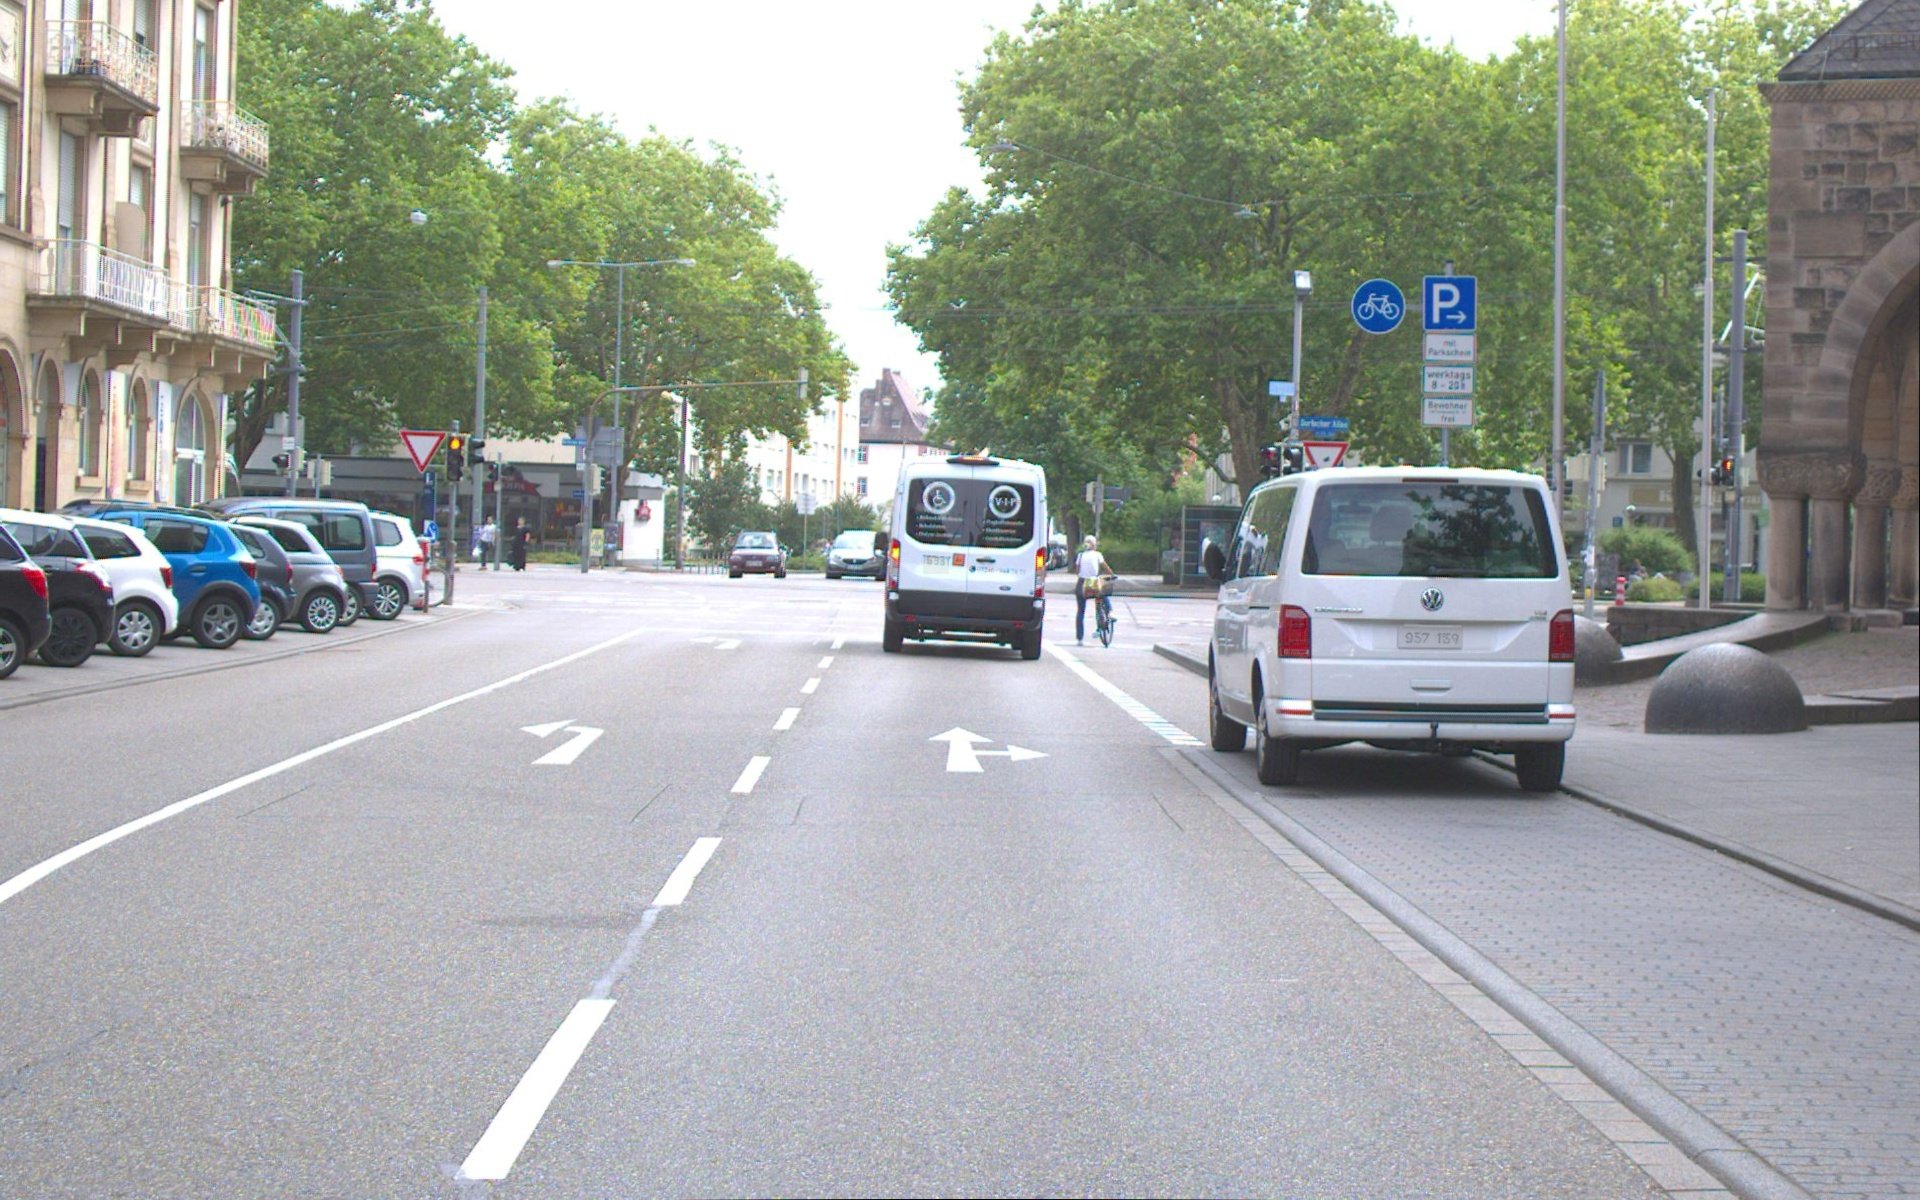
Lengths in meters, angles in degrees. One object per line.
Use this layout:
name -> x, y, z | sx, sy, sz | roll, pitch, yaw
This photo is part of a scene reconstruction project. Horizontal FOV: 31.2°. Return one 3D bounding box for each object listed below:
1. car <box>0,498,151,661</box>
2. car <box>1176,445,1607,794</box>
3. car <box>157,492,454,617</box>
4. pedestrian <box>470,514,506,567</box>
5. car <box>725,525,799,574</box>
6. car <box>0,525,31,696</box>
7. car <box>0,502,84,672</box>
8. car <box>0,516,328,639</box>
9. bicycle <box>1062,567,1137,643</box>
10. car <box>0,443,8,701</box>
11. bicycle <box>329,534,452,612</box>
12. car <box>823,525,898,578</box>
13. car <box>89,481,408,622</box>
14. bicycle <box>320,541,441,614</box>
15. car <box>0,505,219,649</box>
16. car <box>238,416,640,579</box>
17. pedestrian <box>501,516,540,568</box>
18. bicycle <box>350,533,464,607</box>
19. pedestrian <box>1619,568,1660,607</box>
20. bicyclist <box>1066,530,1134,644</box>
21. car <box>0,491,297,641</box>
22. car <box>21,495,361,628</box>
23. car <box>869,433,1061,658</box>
car -> -10.164, -0.241, 33.605 | 3.999, 1.559, 1.797 | 1, 1, -32
car -> 2.677, 0.040, 22.611 | 2.014, 2.022, 5.124 | 0, 2, -2
car -> -9.891, -0.679, 52.060 | 4.000, 1.767, 1.796 | 1, 1, -39
pedestrian -> -14.049, -1.771, 102.311 | 0.807, 1.567, 0.723 | 2, 1, 14
car -> -6.253, -1.608, 109.022 | 1.621, 1.471, 3.999 | 2, 1, 7
car -> -9.761, 0.038, 27.677 | 4.001, 1.404, 1.796 | 1, 1, -41
car -> -9.959, -0.162, 30.300 | 3.984, 1.498, 1.631 | 1, 1, -35
car -> -10.110, -0.279, 42.981 | 3.891, 1.438, 1.837 | 1, 1, -36
bicycle -> 2.087, 0.067, 51.638 | 0.902, 1.071, 1.970 | 2, 1, -3
car -> -9.796, -0.277, 24.693 | 5.254, 1.903, 2.121 | 1, 1, -35
bicycle -> -9.319, -0.447, 56.288 | 1.809, 1.116, 0.594 | 5, 1, 4
car -> -3.101, -1.537, 108.155 | 1.733, 1.586, 3.999 | 2, 1, 7
car -> -10.043, -0.671, 48.666 | 4.000, 1.872, 1.796 | 1, 1, -39
bicycle -> -9.372, -0.366, 55.618 | 1.810, 1.116, 0.594 | 1, 1, 6
car -> -9.994, -0.265, 36.630 | 3.674, 1.476, 1.742 | 1, 1, -36
car -> -13.471, -2.660, 88.710 | 9.898, 3.902, 3.451 | 2, 1, 25
pedestrian -> -13.052, -1.726, 102.109 | 0.930, 1.509, 0.723 | 2, 1, 14
bicycle -> -9.559, -0.521, 59.452 | 1.877, 1.163, 0.497 | 4, 0, 20
pedestrian -> 21.645, -0.398, 109.568 | 1.091, 1.232, 1.441 | 0, 0, 4
bicyclist -> 2.104, -0.197, 51.635 | 0.903, 1.677, 0.757 | 2, 1, -3
car -> -9.843, -0.396, 40.000 | 3.766, 1.646, 1.724 | 1, 1, -37
car -> -10.211, -0.504, 45.778 | 4.000, 1.646, 1.796 | 1, 1, -39
car -> 0.001, -0.737, 44.652 | 2.181, 2.638, 4.629 | 3, 2, -2
